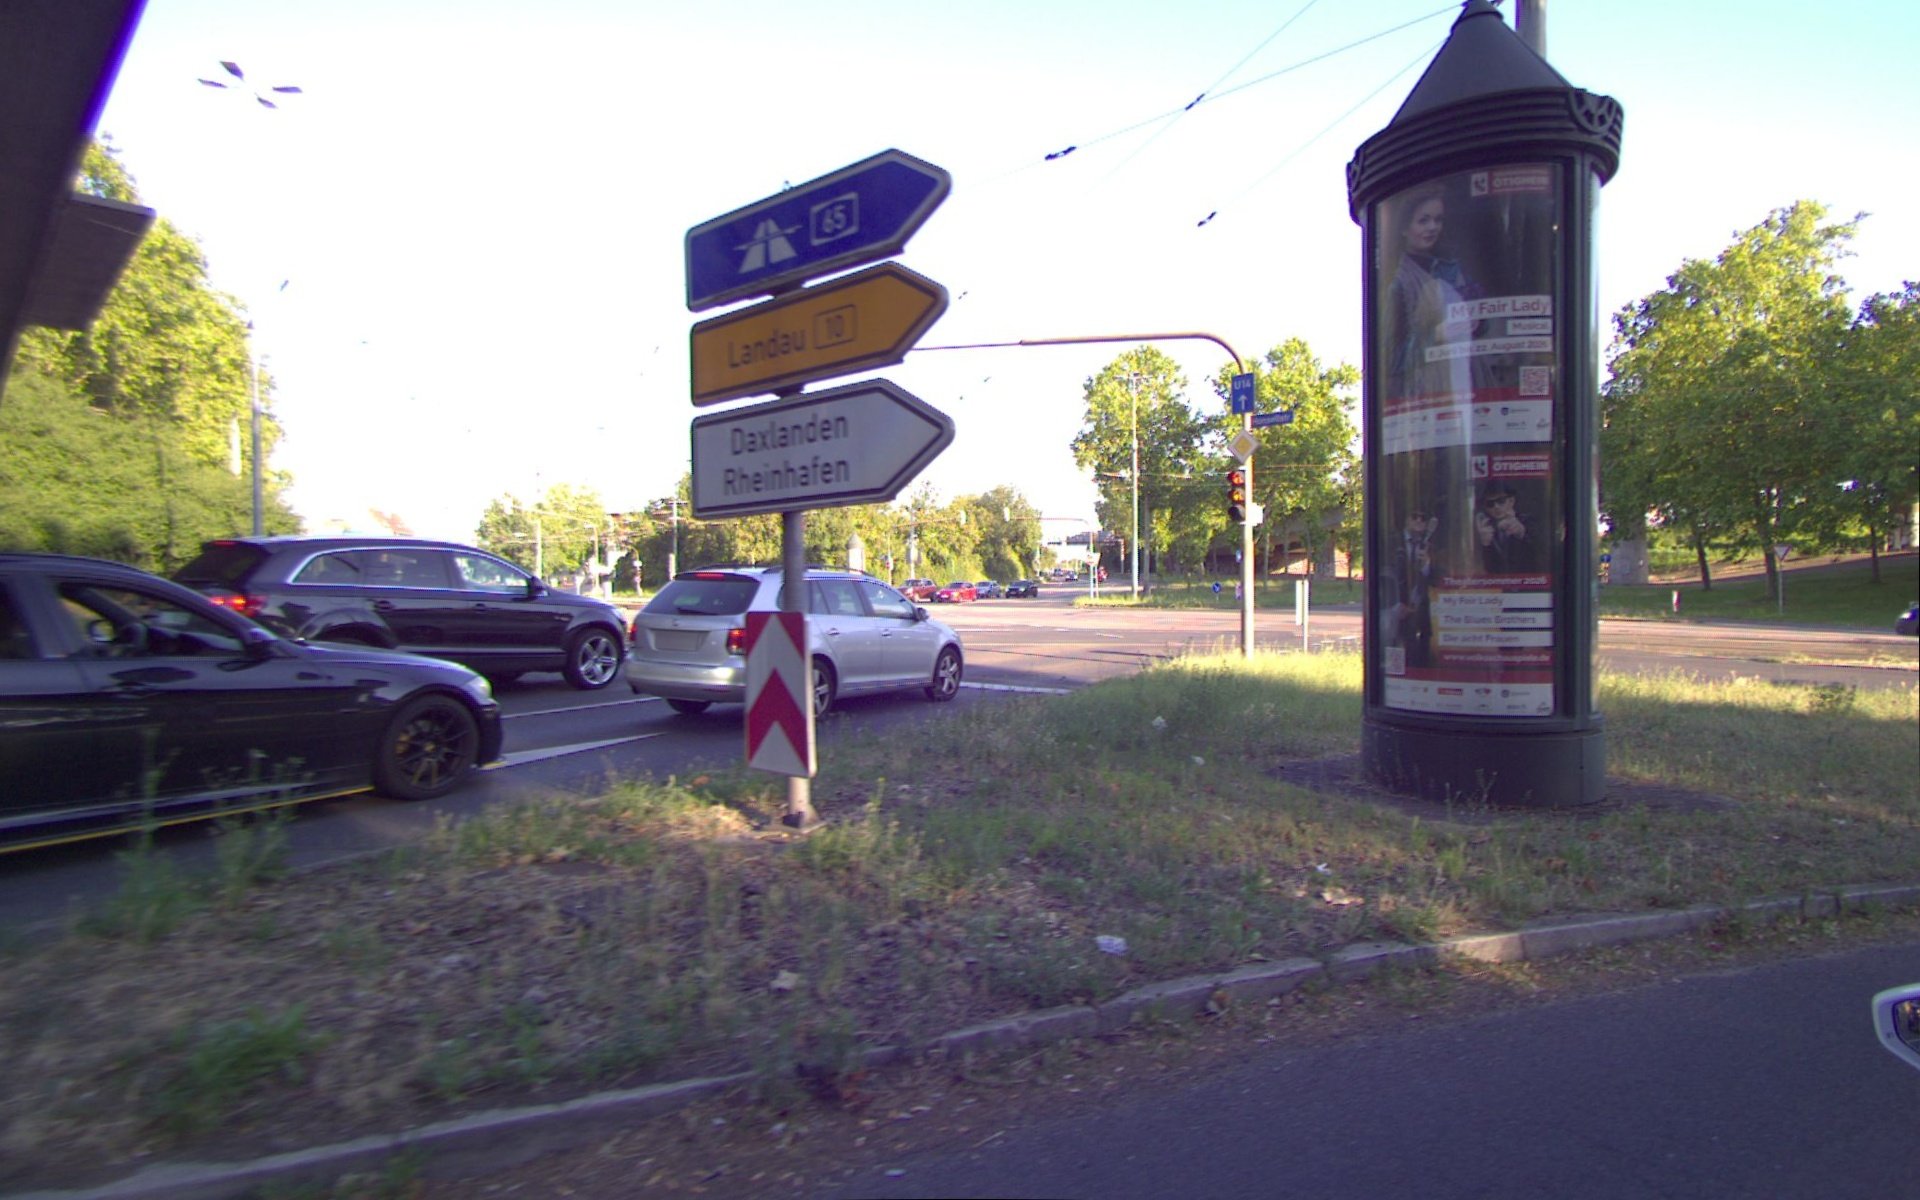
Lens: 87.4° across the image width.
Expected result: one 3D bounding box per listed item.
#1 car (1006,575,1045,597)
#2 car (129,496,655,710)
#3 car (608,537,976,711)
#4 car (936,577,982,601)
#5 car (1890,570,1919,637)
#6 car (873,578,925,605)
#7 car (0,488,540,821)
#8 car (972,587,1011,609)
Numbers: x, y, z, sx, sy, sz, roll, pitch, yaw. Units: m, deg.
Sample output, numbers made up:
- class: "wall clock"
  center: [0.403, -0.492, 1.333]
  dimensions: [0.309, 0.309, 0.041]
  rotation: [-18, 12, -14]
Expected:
- class: "car"
  center: [5.448, -1.146, 83.121]
  dimensions: [1.849, 1.796, 3.995]
  rotation: [2, 1, 26]
- class: "car"
  center: [-5.832, -0.017, 11.058]
  dimensions: [1.766, 1.816, 4.816]
  rotation: [2, 2, 30]
- class: "car"
  center: [-1.529, 0.214, 10.617]
  dimensions: [1.765, 1.461, 3.994]
  rotation: [-2, 0, 28]
- class: "car"
  center: [-0.056, -0.768, 71.433]
  dimensions: [1.849, 1.596, 3.670]
  rotation: [2, 1, 26]
- class: "car"
  center: [26.600, 0.140, 25.297]
  dimensions: [1.985, 1.715, 4.462]
  rotation: [0, 1, -42]
- class: "car"
  center: [-4.203, -0.605, 69.883]
  dimensions: [1.849, 1.796, 3.995]
  rotation: [2, 1, 26]
- class: "car"
  center: [-4.604, 0.247, 5.074]
  dimensions: [1.765, 1.401, 4.470]
  rotation: [-2, 0, 28]
- class: "car"
  center: [2.690, -0.189, 85.453]
  dimensions: [1.849, 1.796, 3.995]
  rotation: [2, 1, 26]
